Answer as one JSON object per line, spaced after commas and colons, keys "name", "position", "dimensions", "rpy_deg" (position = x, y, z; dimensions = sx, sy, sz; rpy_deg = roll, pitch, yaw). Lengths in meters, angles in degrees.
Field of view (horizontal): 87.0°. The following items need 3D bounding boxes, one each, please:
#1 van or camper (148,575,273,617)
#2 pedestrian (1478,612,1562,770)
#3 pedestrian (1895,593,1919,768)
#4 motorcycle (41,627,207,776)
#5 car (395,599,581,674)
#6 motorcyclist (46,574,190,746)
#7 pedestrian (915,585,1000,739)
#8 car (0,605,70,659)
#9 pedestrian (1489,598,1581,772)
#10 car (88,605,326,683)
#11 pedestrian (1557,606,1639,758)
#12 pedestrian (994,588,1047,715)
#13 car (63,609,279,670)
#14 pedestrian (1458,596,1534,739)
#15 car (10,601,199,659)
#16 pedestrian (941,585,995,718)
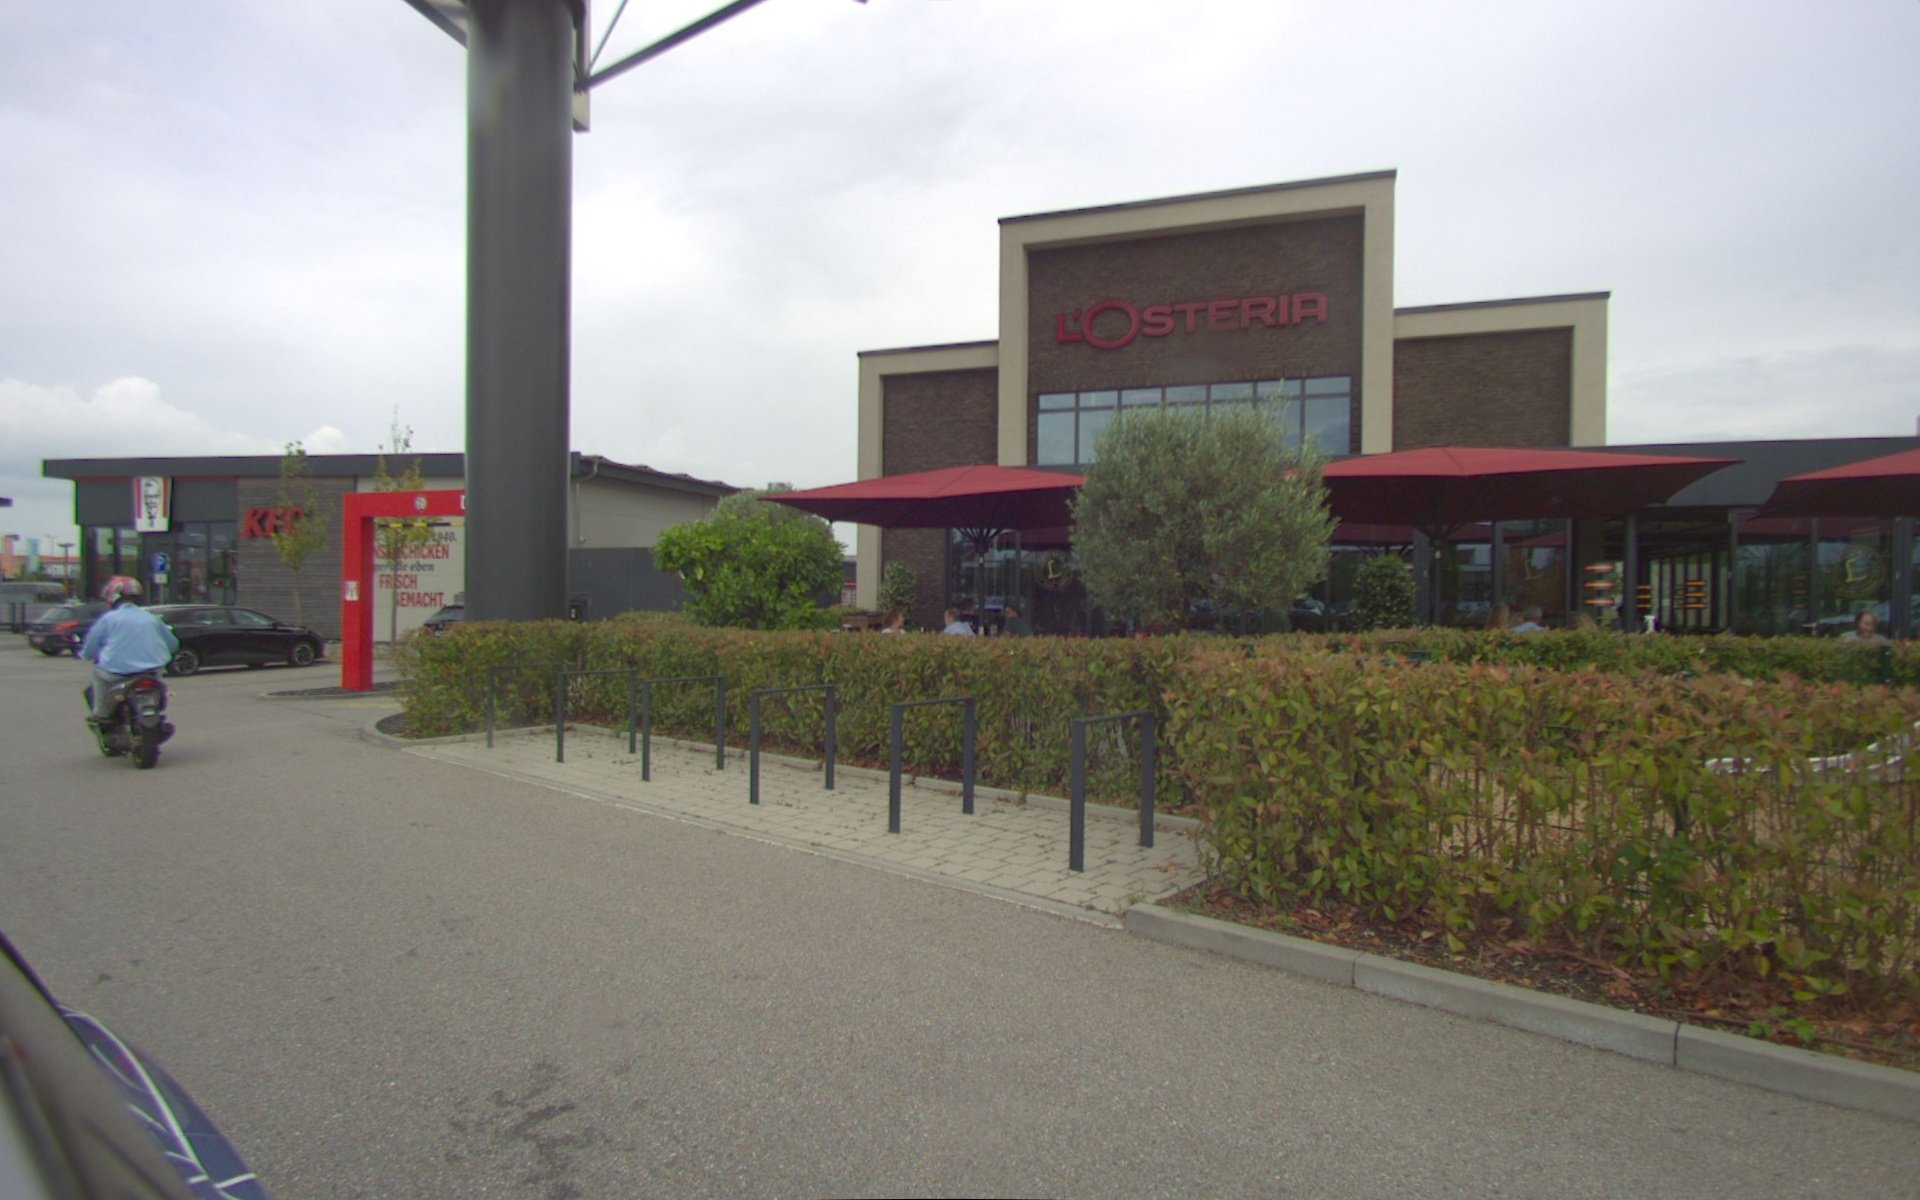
{"name": "van or camper", "position": [-50.852, -0.269, 68.858], "dimensions": [6.459, 2.721, 2.179], "rpy_deg": [-1, -1, -22]}
{"name": "pedestrian", "position": [6.532, 1.033, 11.802], "dimensions": [0.704, 1.761, 0.732], "rpy_deg": [-1, -3, 43]}
{"name": "pedestrian", "position": [10.010, 0.816, 10.108], "dimensions": [0.698, 1.761, 0.739], "rpy_deg": [0, -2, 17]}
{"name": "motorcycle", "position": [-7.809, 0.879, 9.427], "dimensions": [1.918, 1.217, 0.785], "rpy_deg": [0, 0, 38]}
{"name": "car", "position": [-11.070, 0.796, 24.043], "dimensions": [1.723, 1.608, 3.974], "rpy_deg": [0, 0, 20]}
{"name": "motorcyclist", "position": [-7.832, 0.525, 9.420], "dimensions": [0.939, 1.500, 0.820], "rpy_deg": [0, 0, 35]}
{"name": "pedestrian", "position": [-0.030, 0.711, 12.104], "dimensions": [0.742, 1.761, 0.695], "rpy_deg": [-1, 0, 39]}
{"name": "car", "position": [-47.558, 1.617, 51.570], "dimensions": [2.038, 2.572, 7.034], "rpy_deg": [0, -1, -31]}
{"name": "pedestrian", "position": [6.120, 0.880, 10.774], "dimensions": [0.704, 1.761, 0.732], "rpy_deg": [-1, -3, 43]}
{"name": "car", "position": [-16.875, 0.903, 22.944], "dimensions": [1.728, 1.540, 4.096], "rpy_deg": [0, 0, 20]}
{"name": "pedestrian", "position": [7.744, 0.969, 12.283], "dimensions": [0.704, 1.761, 0.732], "rpy_deg": [-1, -3, 43]}
{"name": "pedestrian", "position": [0.856, 0.726, 14.490], "dimensions": [0.694, 1.761, 0.742], "rpy_deg": [1, -2, 0]}
{"name": "car", "position": [-20.941, 0.989, 27.076], "dimensions": [1.985, 1.497, 4.151], "rpy_deg": [-1, -1, 20]}
{"name": "pedestrian", "position": [6.879, 0.849, 12.991], "dimensions": [0.704, 1.761, 0.732], "rpy_deg": [-1, -3, 43]}
{"name": "car", "position": [-25.116, 0.830, 29.865], "dimensions": [1.746, 1.498, 3.913], "rpy_deg": [-1, 1, 20]}
{"name": "pedestrian", "position": [0.107, 0.697, 13.930], "dimensions": [0.694, 1.761, 0.742], "rpy_deg": [1, -2, 0]}
